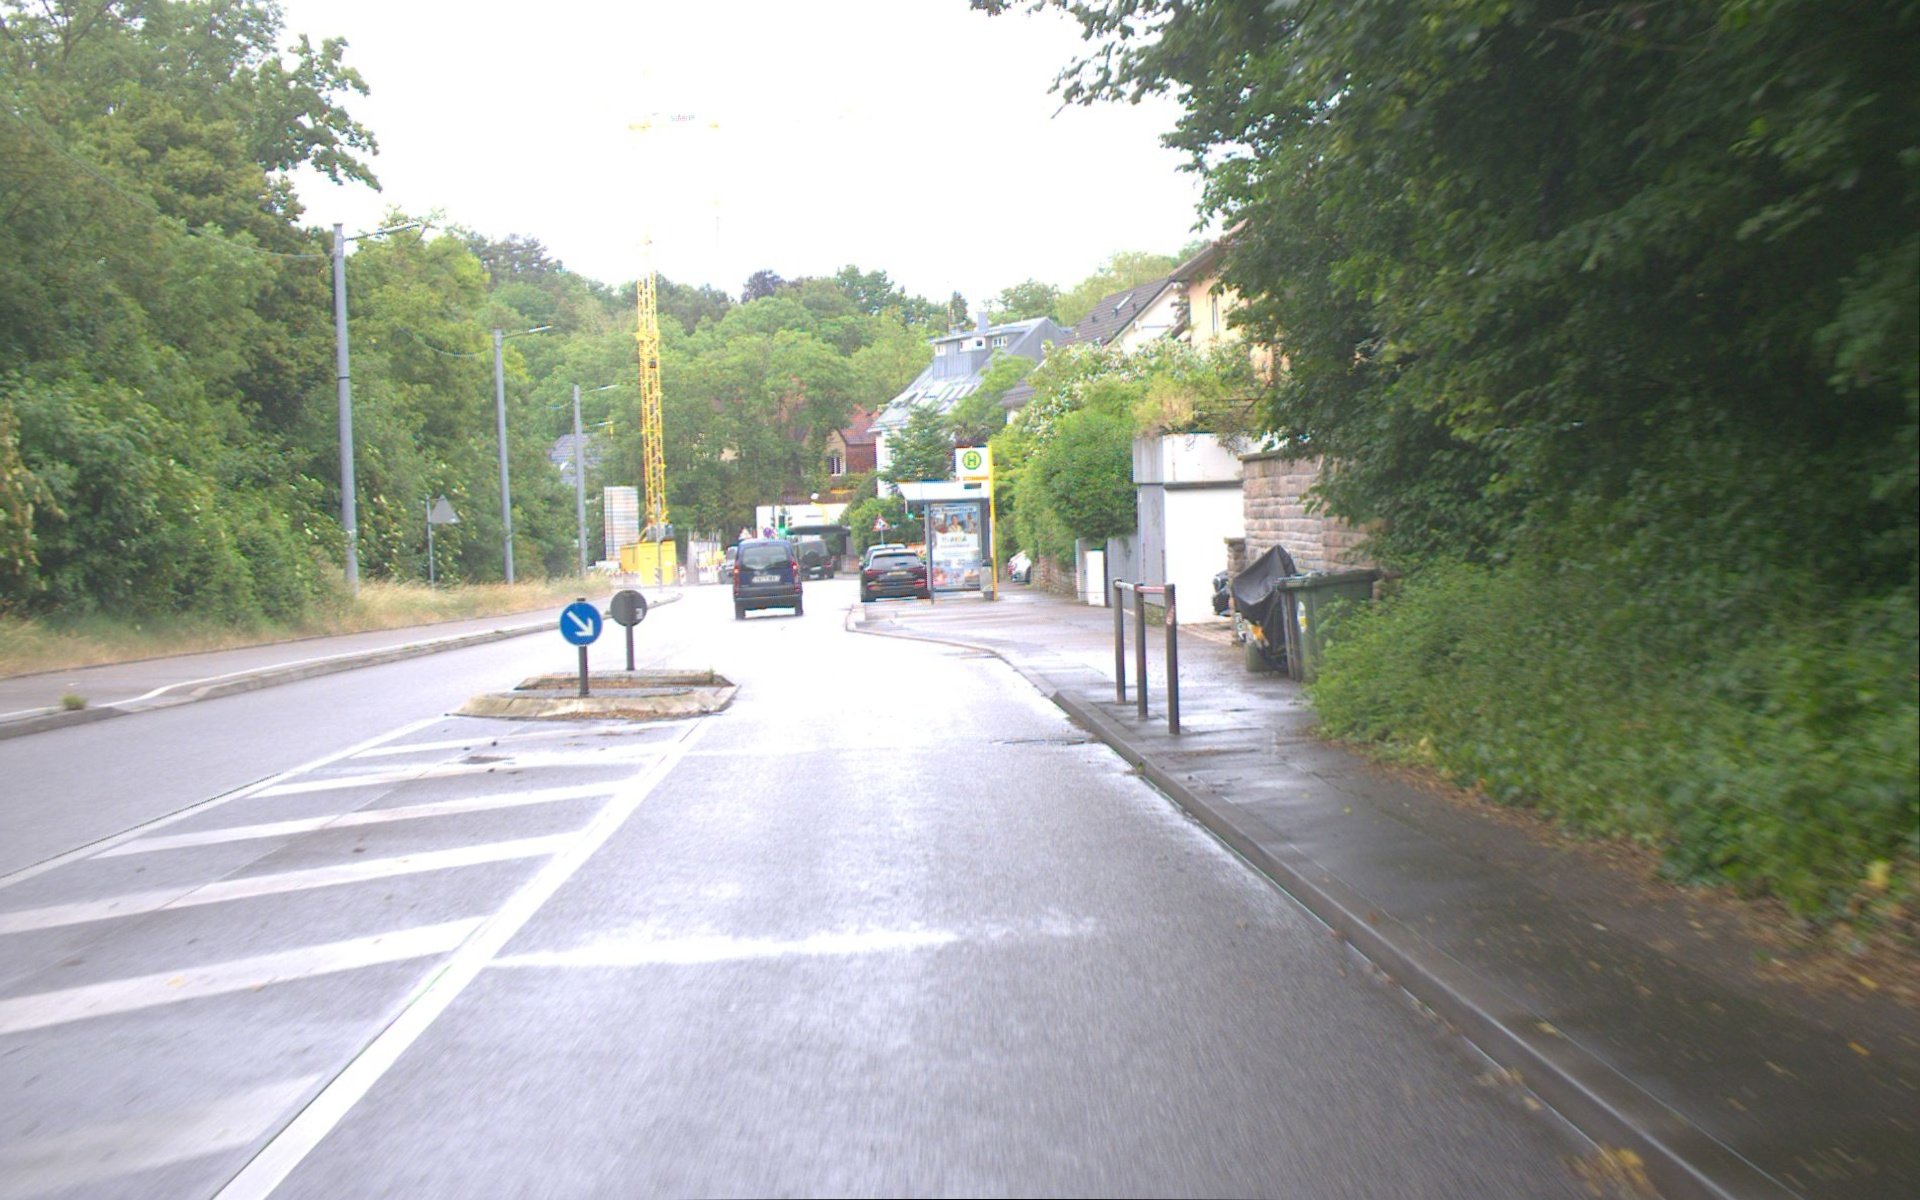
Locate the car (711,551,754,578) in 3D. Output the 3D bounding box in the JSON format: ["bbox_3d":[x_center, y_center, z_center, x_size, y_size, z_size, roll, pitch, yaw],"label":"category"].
[{"bbox_3d":[-13.105,-2.054,198.044,1.739,1.546,3.857,-1,1,-15],"label":"car"}]

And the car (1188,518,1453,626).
[{"bbox_3d":[5.424,-0.431,51.984,3.769,1.547,1.609,-1,1,-2],"label":"car"}]

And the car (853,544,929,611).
[{"bbox_3d":[-1.864,-0.632,92.863,1.993,1.766,4.115,0,1,-1],"label":"car"}]

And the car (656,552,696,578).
[{"bbox_3d":[-17.287,-2.119,209.442,1.739,1.546,3.857,-1,1,-15],"label":"car"}]

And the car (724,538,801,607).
[{"bbox_3d":[-4.733,-0.664,82.739,1.667,1.588,3.683,-1,1,-1],"label":"car"}]

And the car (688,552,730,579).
[{"bbox_3d":[-14.853,-2.039,203.271,1.739,1.547,3.857,0,0,-15],"label":"car"}]
